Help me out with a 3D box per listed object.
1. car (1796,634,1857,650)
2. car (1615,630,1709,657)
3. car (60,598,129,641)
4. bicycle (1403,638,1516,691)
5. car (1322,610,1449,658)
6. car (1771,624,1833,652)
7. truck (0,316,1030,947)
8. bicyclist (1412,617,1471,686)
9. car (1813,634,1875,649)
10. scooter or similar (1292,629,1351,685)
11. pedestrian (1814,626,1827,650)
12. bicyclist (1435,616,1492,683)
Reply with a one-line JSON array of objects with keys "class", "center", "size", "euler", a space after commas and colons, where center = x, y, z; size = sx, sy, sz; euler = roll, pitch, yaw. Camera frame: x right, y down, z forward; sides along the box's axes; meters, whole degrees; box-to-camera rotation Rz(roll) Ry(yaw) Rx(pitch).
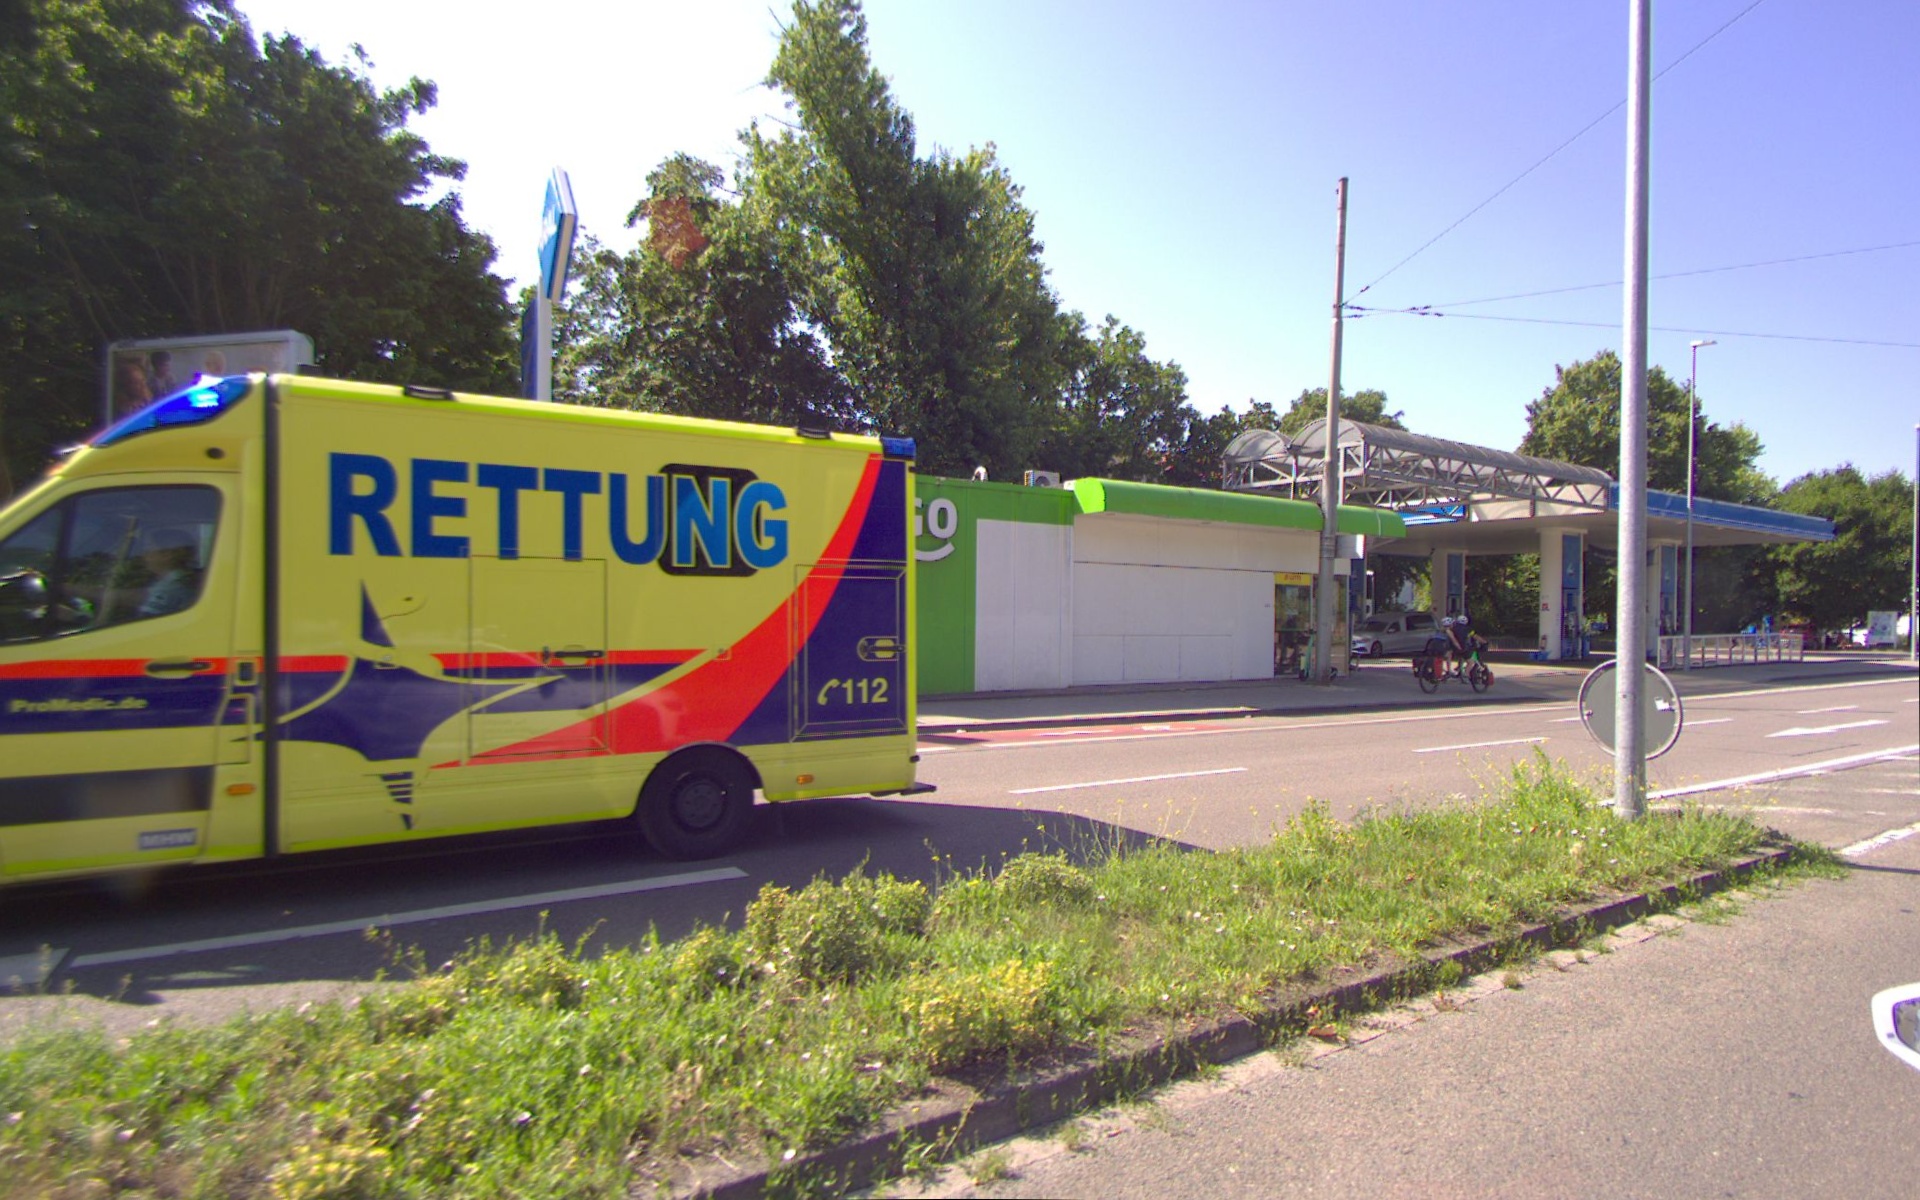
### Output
[{"class": "car", "center": [73.255, 3.548, 84.972], "size": [1.552, 1.221, 3.644], "euler": [1, -1, -22]}, {"class": "car", "center": [38.297, 2.364, 54.833], "size": [4.167, 1.363, 1.802], "euler": [1, -1, -10]}, {"class": "car", "center": [-49.561, 1.077, 57.609], "size": [1.975, 2.347, 4.625], "euler": [1, -1, -28]}, {"class": "bicycle", "center": [11.174, 1.422, 22.436], "size": [2.737, 1.109, 0.822], "euler": [1, 0, -28]}, {"class": "car", "center": [17.190, 1.343, 40.407], "size": [5.903, 1.805, 1.832], "euler": [1, -1, -35]}, {"class": "car", "center": [52.878, 2.343, 63.065], "size": [4.469, 1.591, 1.789], "euler": [0, 0, -34]}, {"class": "truck", "center": [-3.203, 0.181, 6.223], "size": [7.275, 2.703, 2.318], "euler": [1, -1, -31]}, {"class": "bicyclist", "center": [10.660, 1.116, 22.240], "size": [0.822, 1.455, 0.844], "euler": [0, 1, -27]}, {"class": "car", "center": [75.403, 3.534, 85.733], "size": [1.552, 1.221, 3.644], "euler": [1, -1, -22]}, {"class": "scooter or similar", "center": [8.351, 1.302, 23.196], "size": [1.326, 1.254, 0.440], "euler": [1, -1, -24]}, {"class": "pedestrian", "center": [53.692, 2.366, 62.689], "size": [0.495, 1.501, 0.496], "euler": [1, -1, -33]}, {"class": "bicyclist", "center": [11.316, 1.095, 22.586], "size": [0.822, 1.455, 0.844], "euler": [1, -1, -27]}]
